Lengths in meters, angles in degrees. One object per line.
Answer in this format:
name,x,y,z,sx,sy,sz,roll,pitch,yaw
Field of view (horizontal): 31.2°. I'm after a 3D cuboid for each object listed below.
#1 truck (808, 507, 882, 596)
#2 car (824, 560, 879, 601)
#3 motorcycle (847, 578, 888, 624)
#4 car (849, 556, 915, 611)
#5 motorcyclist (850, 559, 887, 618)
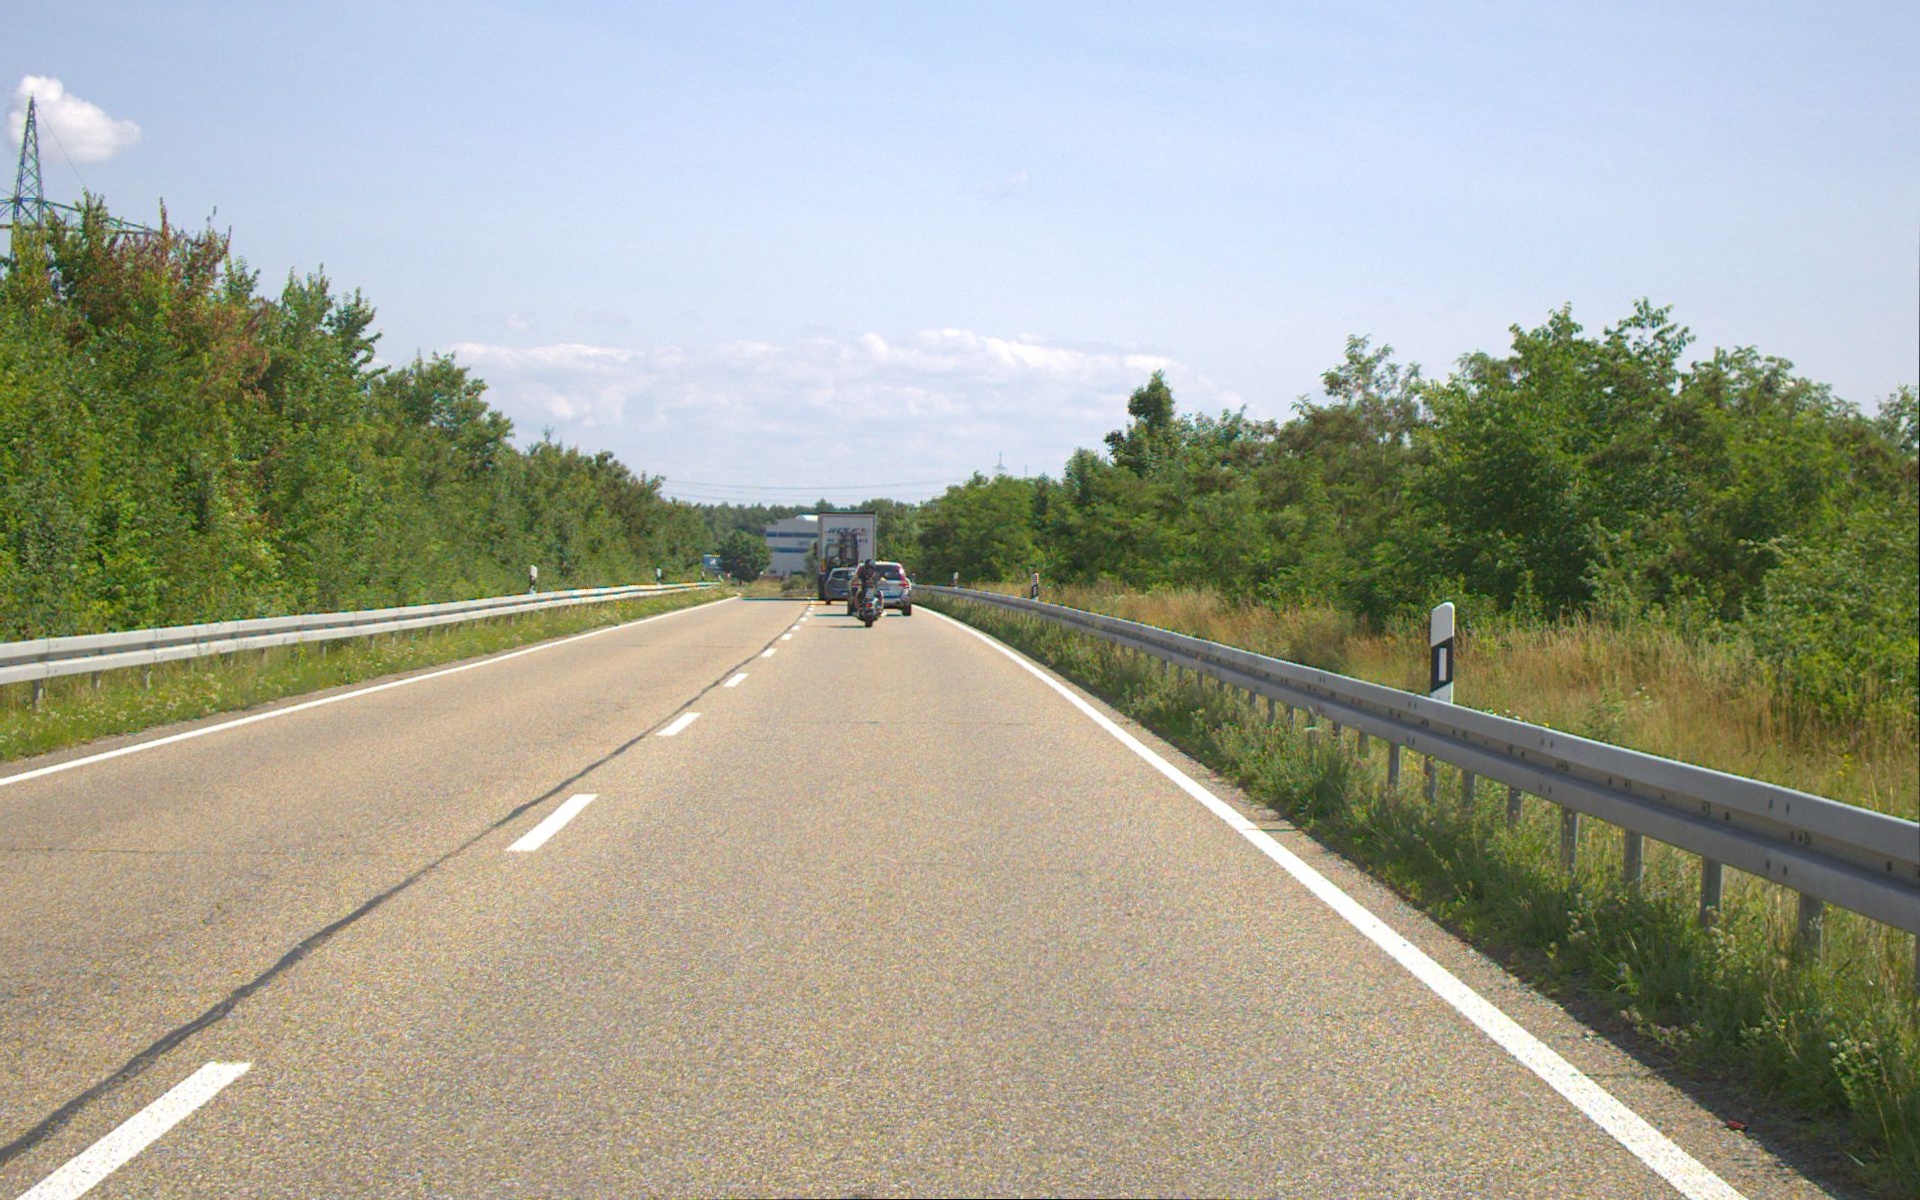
truck,-5.364,-2.273,158.888,3.241,3.965,9.445,1,1,-2
car,-4.163,-0.764,132.106,1.866,1.415,4.000,1,2,1
motorcycle,-2.112,0.020,78.706,0.780,0.972,2.361,1,2,2
car,-2.280,-0.501,99.399,1.825,1.446,4.001,1,2,-2
motorcyclist,-2.097,-0.271,78.718,0.780,1.321,0.813,1,2,2
